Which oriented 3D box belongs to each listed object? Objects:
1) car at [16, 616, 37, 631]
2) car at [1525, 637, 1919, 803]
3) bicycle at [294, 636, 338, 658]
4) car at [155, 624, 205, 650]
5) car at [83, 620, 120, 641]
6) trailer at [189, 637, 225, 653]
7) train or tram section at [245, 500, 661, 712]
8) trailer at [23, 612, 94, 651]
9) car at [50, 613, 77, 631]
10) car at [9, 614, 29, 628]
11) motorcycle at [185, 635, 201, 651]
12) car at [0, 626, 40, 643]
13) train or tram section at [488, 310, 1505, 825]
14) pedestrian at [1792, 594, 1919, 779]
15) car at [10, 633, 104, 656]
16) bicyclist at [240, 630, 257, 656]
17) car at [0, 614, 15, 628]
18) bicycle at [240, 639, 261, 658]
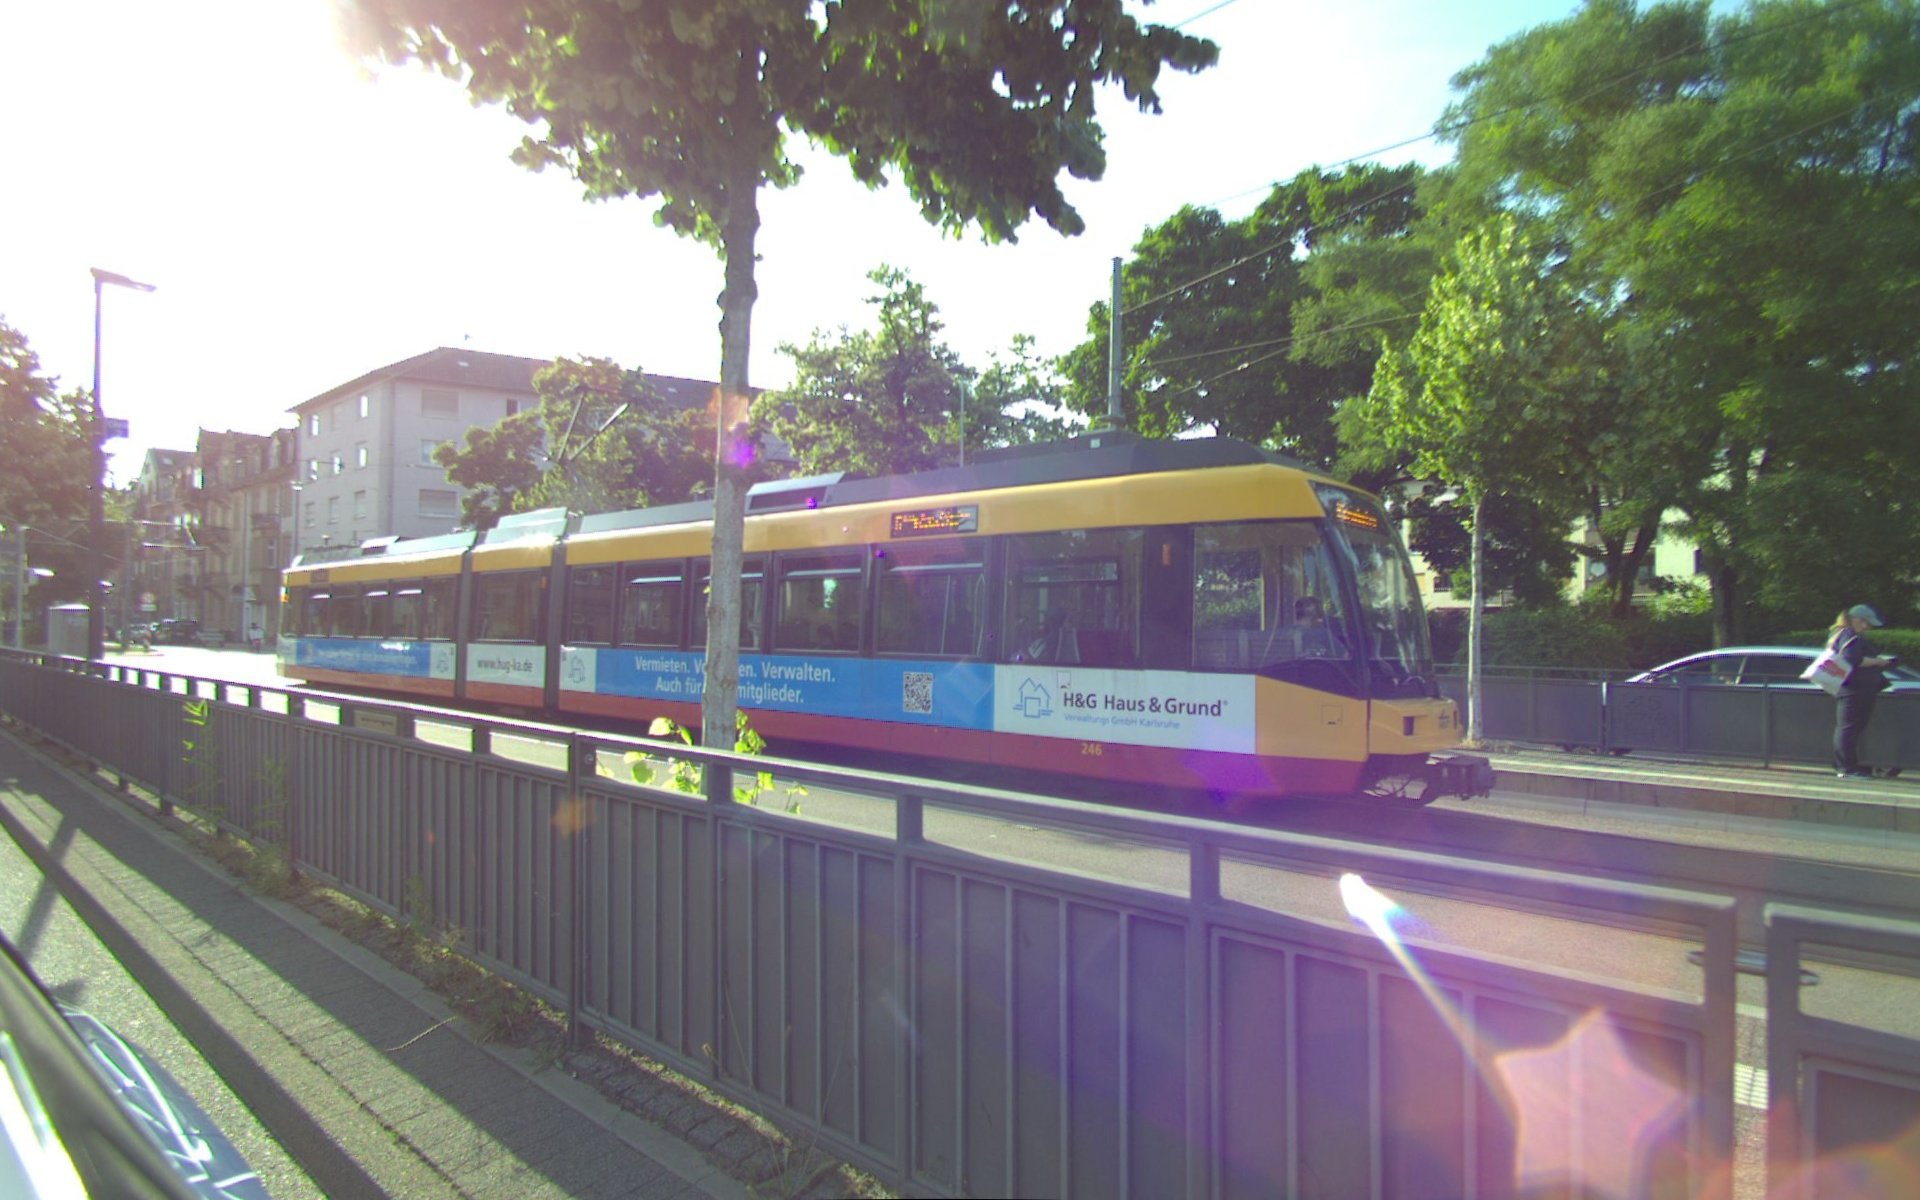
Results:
[{"bbox_3d":[-128.137,3.194,138.951,1.971,2.029,4.002,1,-2,-45],"label":"car"},{"bbox_3d":[9.382,1.318,12.396,3.997,1.697,1.973,-2,-2,40],"label":"car"},{"bbox_3d":[-34.101,2.498,53.584,1.883,1.119,0.737,1,-2,-28],"label":"bicycle"},{"bbox_3d":[-56.152,2.638,72.812,4.719,1.763,2.141,-2,-2,44],"label":"car"},{"bbox_3d":[-80.637,2.856,95.030,4.611,1.915,2.141,-2,-2,44],"label":"car"},{"bbox_3d":[-51.070,3.027,68.598,2.879,0.903,1.425,-2,2,42],"label":"trailer"},{"bbox_3d":[-12.120,0.277,22.713,14.525,3.506,3.128,-2,-2,41],"label":"train or tram section"},{"bbox_3d":[-56.641,1.995,63.621,2.817,2.410,1.728,0,-2,-17],"label":"trailer"},{"bbox_3d":[-104.826,2.546,118.331,3.999,2.029,1.972,-2,-2,42],"label":"car"},{"bbox_3d":[-136.325,3.031,146.673,1.971,2.029,4.002,1,-2,-45],"label":"car"},{"bbox_3d":[-53.166,2.961,70.153,1.734,1.088,0.628,-2,-2,45],"label":"motorcycle"},{"bbox_3d":[-80.581,2.915,85.169,4.205,1.433,2.175,0,-2,-7],"label":"car"},{"bbox_3d":[-1.440,-0.047,12.953,14.470,3.506,3.127,-2,-2,43],"label":"train or tram section"},{"bbox_3d":[8.464,0.787,9.471,0.859,1.654,0.660,-1,-2,25],"label":"pedestrian"},{"bbox_3d":[-54.557,2.686,61.223,3.887,1.370,1.677,1,-2,-14],"label":"car"},{"bbox_3d":[-39.253,2.366,55.830,0.717,1.424,0.643,-2,-2,44],"label":"bicyclist"},{"bbox_3d":[-145.873,3.213,154.537,3.998,2.029,1.973,-2,-2,41],"label":"car"},{"bbox_3d":[-39.028,2.651,55.659,2.251,1.026,0.536,-2,-2,45],"label":"bicycle"}]
